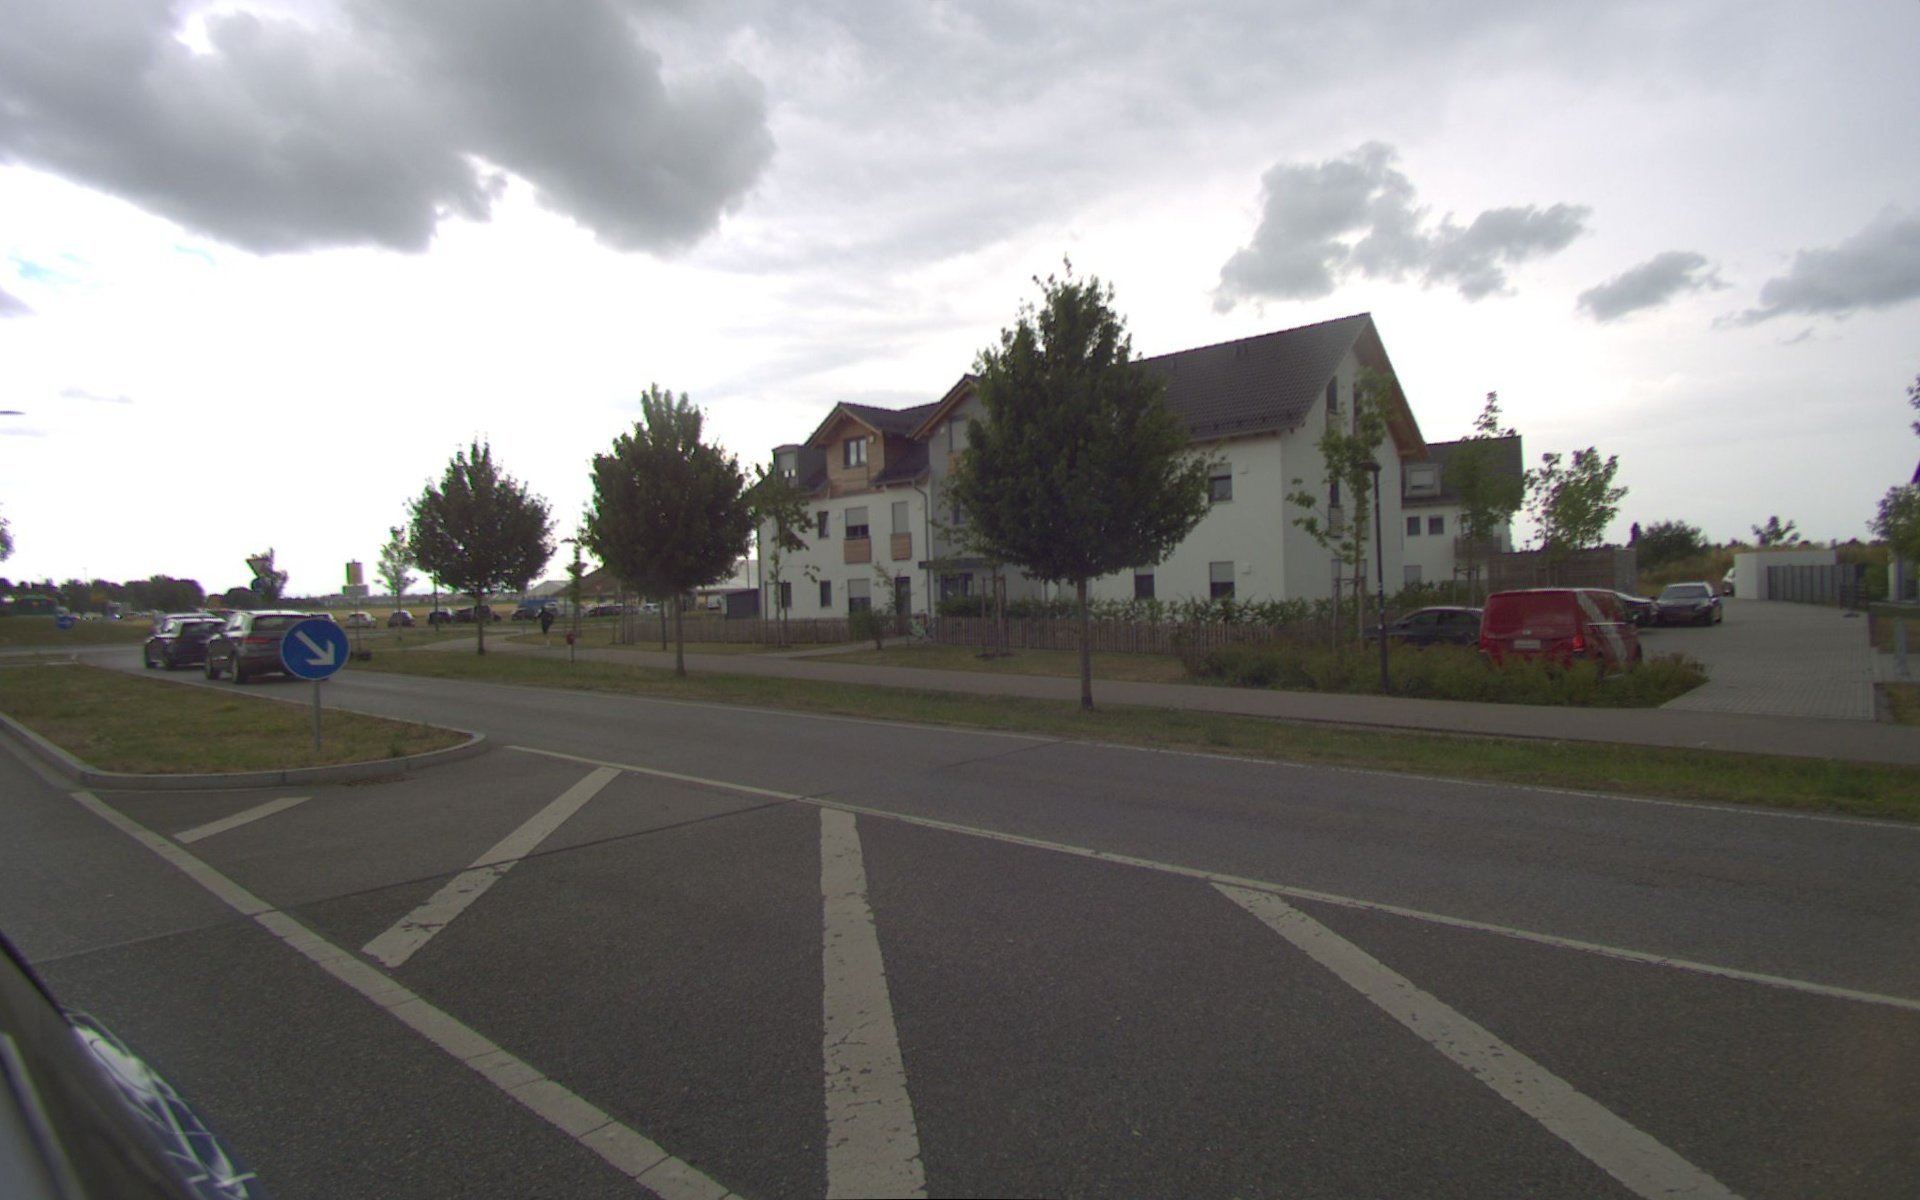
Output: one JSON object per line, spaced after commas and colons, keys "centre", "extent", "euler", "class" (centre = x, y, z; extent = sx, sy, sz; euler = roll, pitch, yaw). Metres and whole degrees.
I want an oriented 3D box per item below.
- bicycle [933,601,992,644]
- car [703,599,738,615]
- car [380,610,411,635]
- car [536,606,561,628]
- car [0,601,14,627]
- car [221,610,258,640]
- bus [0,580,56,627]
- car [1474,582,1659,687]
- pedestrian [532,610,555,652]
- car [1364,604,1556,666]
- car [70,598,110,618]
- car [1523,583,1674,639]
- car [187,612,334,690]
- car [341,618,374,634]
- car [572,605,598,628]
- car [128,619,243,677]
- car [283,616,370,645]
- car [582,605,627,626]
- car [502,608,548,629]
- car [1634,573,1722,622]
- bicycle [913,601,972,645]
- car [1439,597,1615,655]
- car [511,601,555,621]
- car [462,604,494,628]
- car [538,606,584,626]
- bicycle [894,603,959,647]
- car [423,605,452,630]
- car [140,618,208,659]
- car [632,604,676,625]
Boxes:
{"centre": [0.067, 0.760, 34.789], "extent": [2.093, 1.439, 0.675], "euler": [-2, -1, 41], "class": "bicycle"}
{"centre": [-31.751, 0.911, 134.177], "extent": [1.991, 2.029, 4.523], "euler": [-1, -1, 28], "class": "car"}
{"centre": [-48.239, 1.904, 86.541], "extent": [1.965, 2.029, 4.013], "euler": [-1, -1, -24], "class": "car"}
{"centre": [-37.924, 1.561, 93.330], "extent": [1.965, 2.029, 4.013], "euler": [-1, -1, -21], "class": "car"}
{"centre": [-63.408, 0.910, 65.107], "extent": [1.967, 1.697, 4.010], "euler": [-1, -1, -12], "class": "car"}
{"centre": [-45.398, 1.528, 63.728], "extent": [1.802, 1.735, 4.409], "euler": [0, 0, -37], "class": "car"}
{"centre": [-68.312, 0.294, 74.072], "extent": [2.949, 3.305, 6.489], "euler": [0, -1, -44], "class": "bus"}
{"centre": [12.079, 0.624, 20.017], "extent": [4.848, 1.829, 1.908], "euler": [0, -1, -44], "class": "car"}
{"centre": [-15.804, 1.162, 38.419], "extent": [0.586, 1.541, 0.540], "euler": [-2, 1, 41], "class": "pedestrian"}
{"centre": [12.546, 0.867, 25.504], "extent": [3.998, 1.431, 1.856], "euler": [-2, -1, 41], "class": "car"}
{"centre": [-66.449, 0.590, 77.284], "extent": [3.998, 1.454, 1.752], "euler": [-2, -1, 41], "class": "car"}
{"centre": [21.092, 0.380, 33.502], "extent": [3.997, 1.537, 1.554], "euler": [-3, 5, 40], "class": "car"}
{"centre": [-15.917, 1.100, 22.959], "extent": [4.214, 1.594, 1.806], "euler": [-2, -1, 42], "class": "car"}
{"centre": [-50.683, 2.190, 85.154], "extent": [1.965, 1.298, 4.013], "euler": [-1, -1, -24], "class": "car"}
{"centre": [-34.762, 1.517, 93.815], "extent": [2.194, 2.029, 4.013], "euler": [-1, -1, -21], "class": "car"}
{"centre": [-21.960, 1.316, 28.642], "extent": [4.348, 1.500, 1.806], "euler": [-2, -1, 42], "class": "car"}
{"centre": [-34.646, 1.634, 55.530], "extent": [1.809, 1.500, 4.330], "euler": [-1, -1, 5], "class": "car"}
{"centre": [-35.737, 1.512, 101.868], "extent": [1.991, 2.029, 3.961], "euler": [-1, -1, 29], "class": "car"}
{"centre": [-44.420, 1.895, 103.417], "extent": [1.991, 2.029, 3.961], "euler": [-1, -1, 29], "class": "car"}
{"centre": [25.341, -0.067, 35.652], "extent": [2.000, 1.598, 3.943], "euler": [-2, -1, 43], "class": "car"}
{"centre": [-0.605, 0.778, 34.316], "extent": [2.093, 1.428, 0.675], "euler": [-2, -1, 41], "class": "bicycle"}
{"centre": [15.868, 0.720, 28.413], "extent": [3.998, 1.519, 1.973], "euler": [-2, -1, 41], "class": "car"}
{"centre": [-45.553, 1.180, 108.089], "extent": [1.991, 2.029, 3.961], "euler": [-1, -1, 29], "class": "car"}
{"centre": [-42.154, 1.396, 88.484], "extent": [1.966, 2.029, 4.011], "euler": [0, -1, -34], "class": "car"}
{"centre": [-40.448, 1.598, 102.656], "extent": [1.994, 2.029, 3.956], "euler": [-1, -1, 32], "class": "car"}
{"centre": [-1.138, 0.843, 33.701], "extent": [2.342, 1.423, 0.675], "euler": [-2, -1, 41], "class": "bicycle"}
{"centre": [-45.100, 1.507, 87.412], "extent": [1.965, 2.029, 4.013], "euler": [-1, -1, -24], "class": "car"}
{"centre": [-31.104, 1.500, 40.011], "extent": [1.803, 1.500, 4.220], "euler": [0, -1, -42], "class": "car"}
{"centre": [-30.089, 1.388, 99.544], "extent": [1.991, 2.029, 3.961], "euler": [-1, -1, 29], "class": "car"}
